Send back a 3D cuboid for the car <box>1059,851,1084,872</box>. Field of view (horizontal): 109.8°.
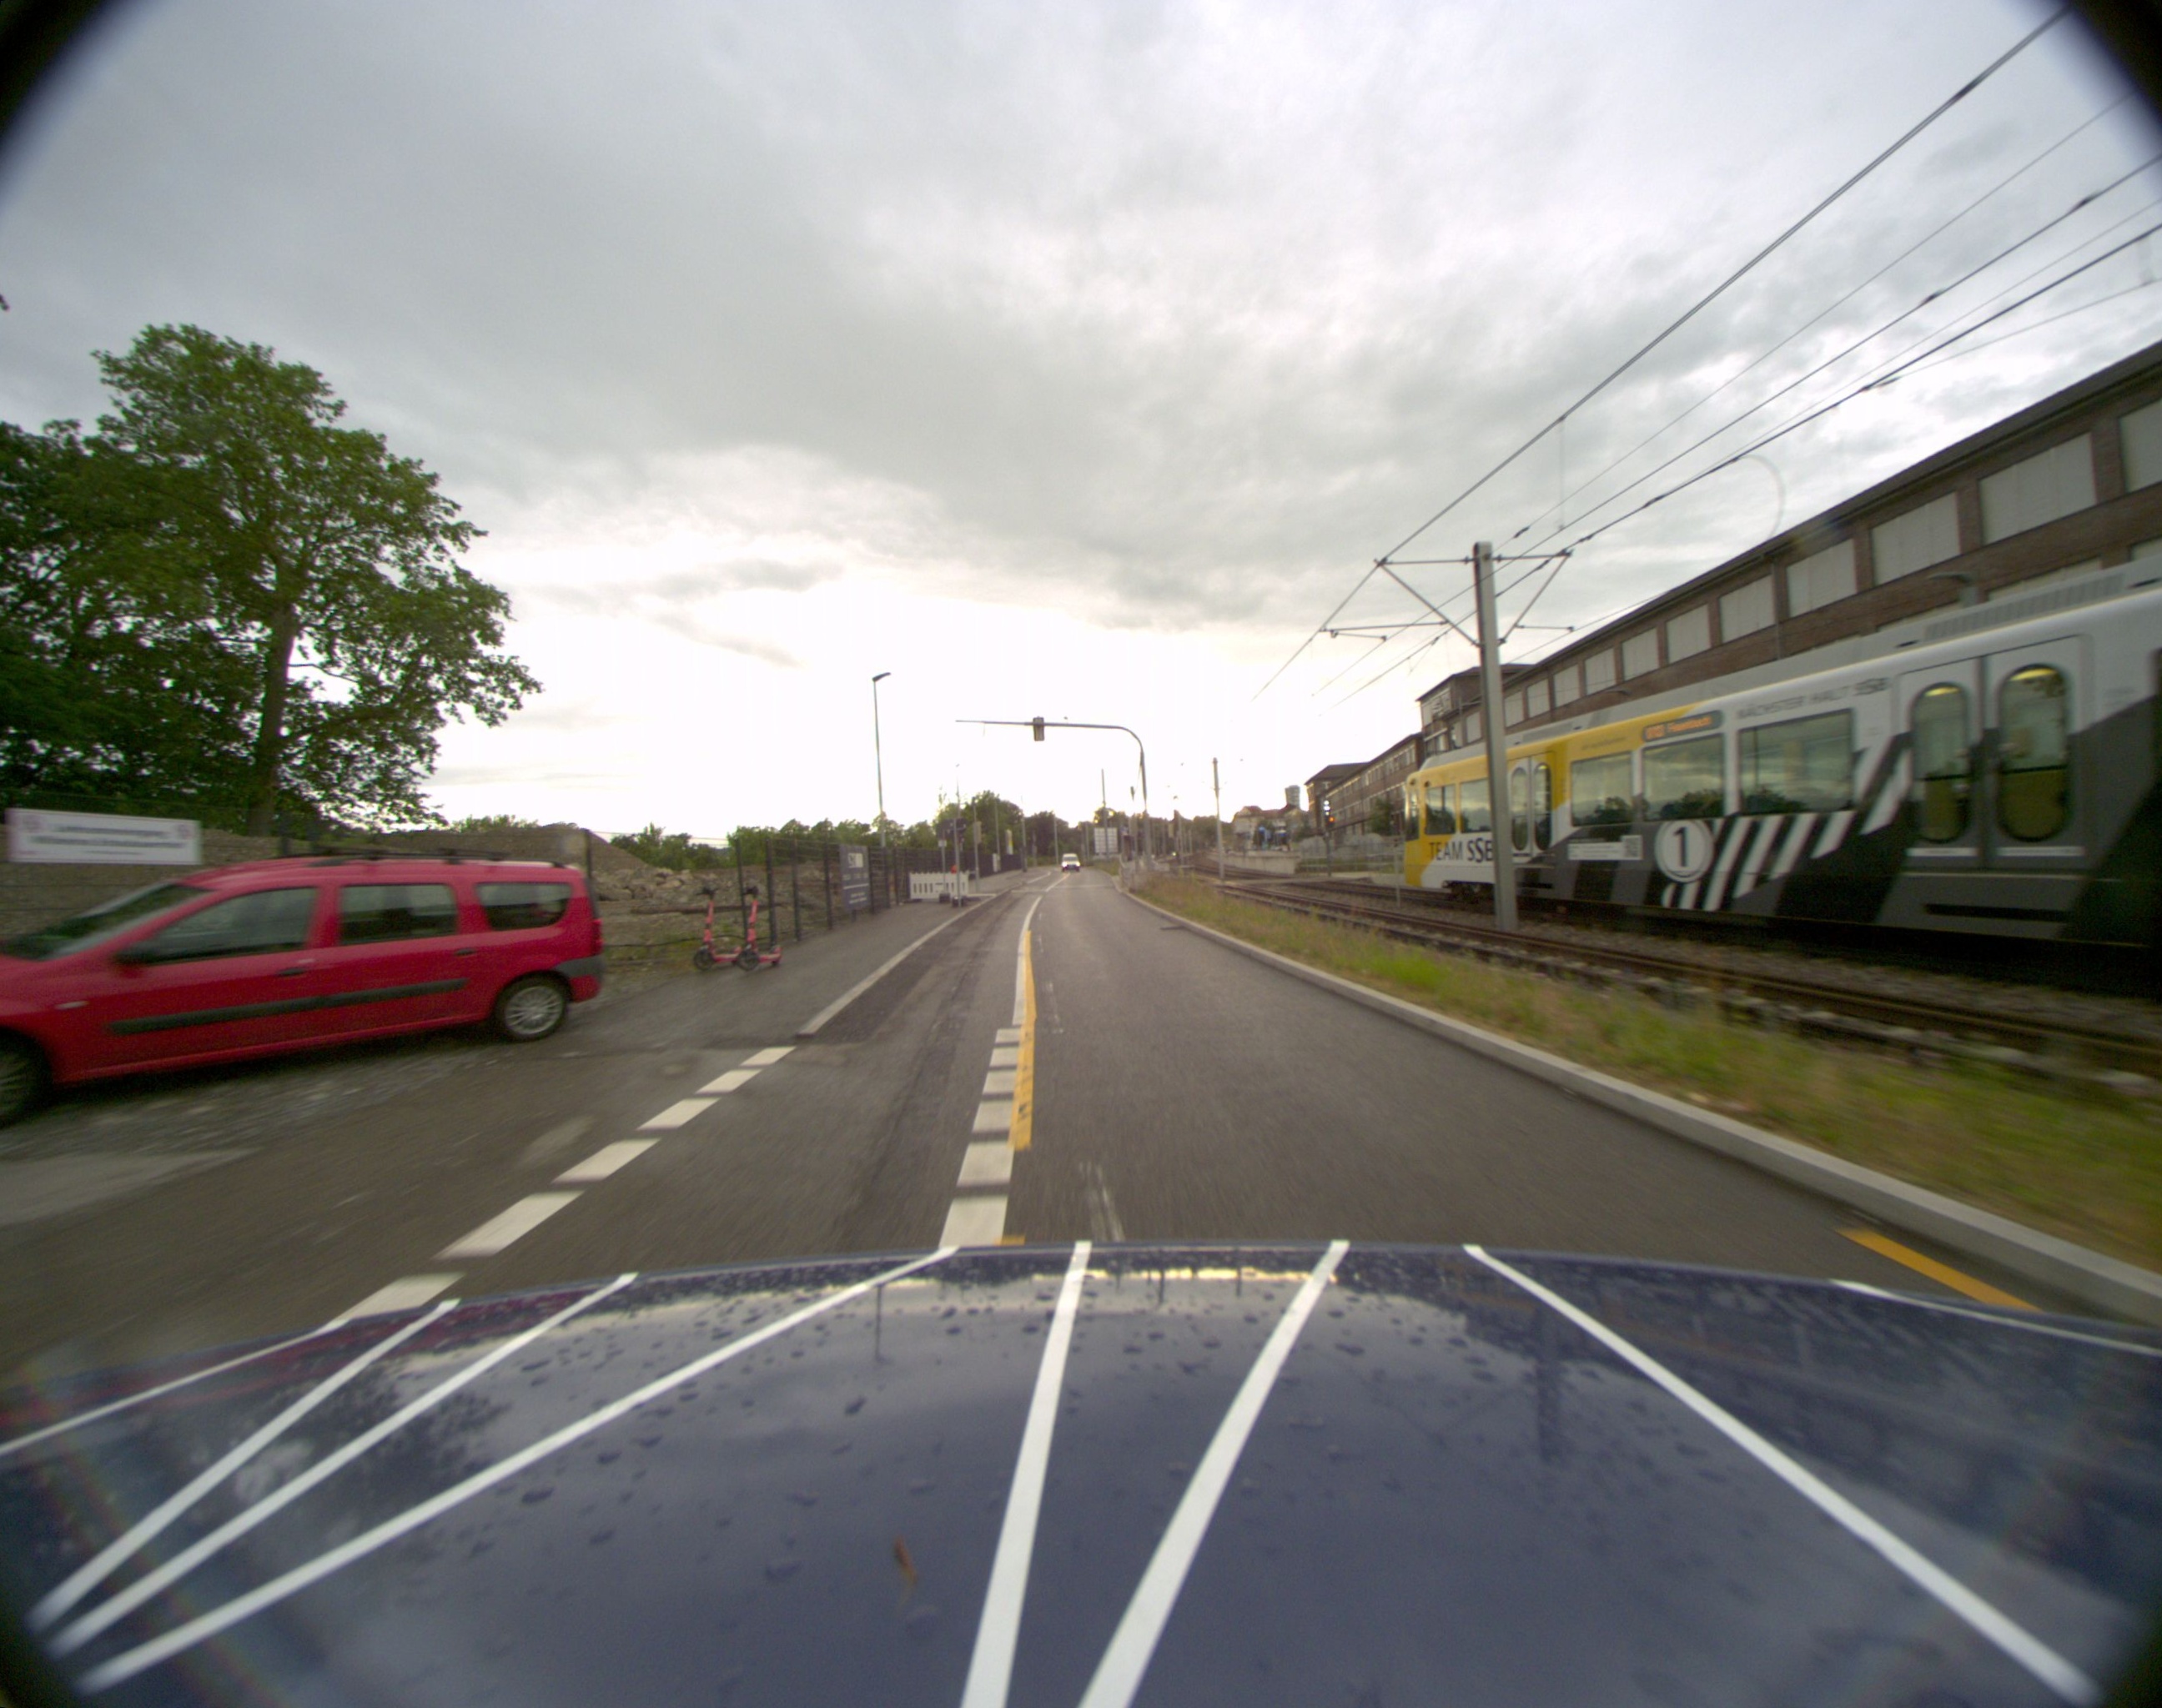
[{"bbox_3d":[-1.005,0.723,79.186,2.000,2.002,3.996,-2,1,-9],"label":"car"}]

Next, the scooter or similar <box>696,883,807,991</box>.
[{"bbox_3d":[-4.790,1.163,11.201,0.616,1.343,1.912,-3,0,4],"label":"scooter or similar"}]

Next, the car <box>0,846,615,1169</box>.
[{"bbox_3d":[-6.401,0.910,5.828,1.821,1.783,4.416,-3,0,29],"label":"car"}]

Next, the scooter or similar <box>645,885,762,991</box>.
[{"bbox_3d":[-5.617,1.203,11.451,0.616,1.343,1.912,-3,0,4],"label":"scooter or similar"}]

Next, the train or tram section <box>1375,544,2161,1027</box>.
[{"bbox_3d":[10.019,-0.650,11.460,2.963,3.863,19.568,-4,0,-1],"label":"train or tram section"}]

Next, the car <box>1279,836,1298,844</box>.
[{"bbox_3d":[53.692,-3.638,196.690,4.573,1.750,2.001,-3,0,9],"label":"car"}]
